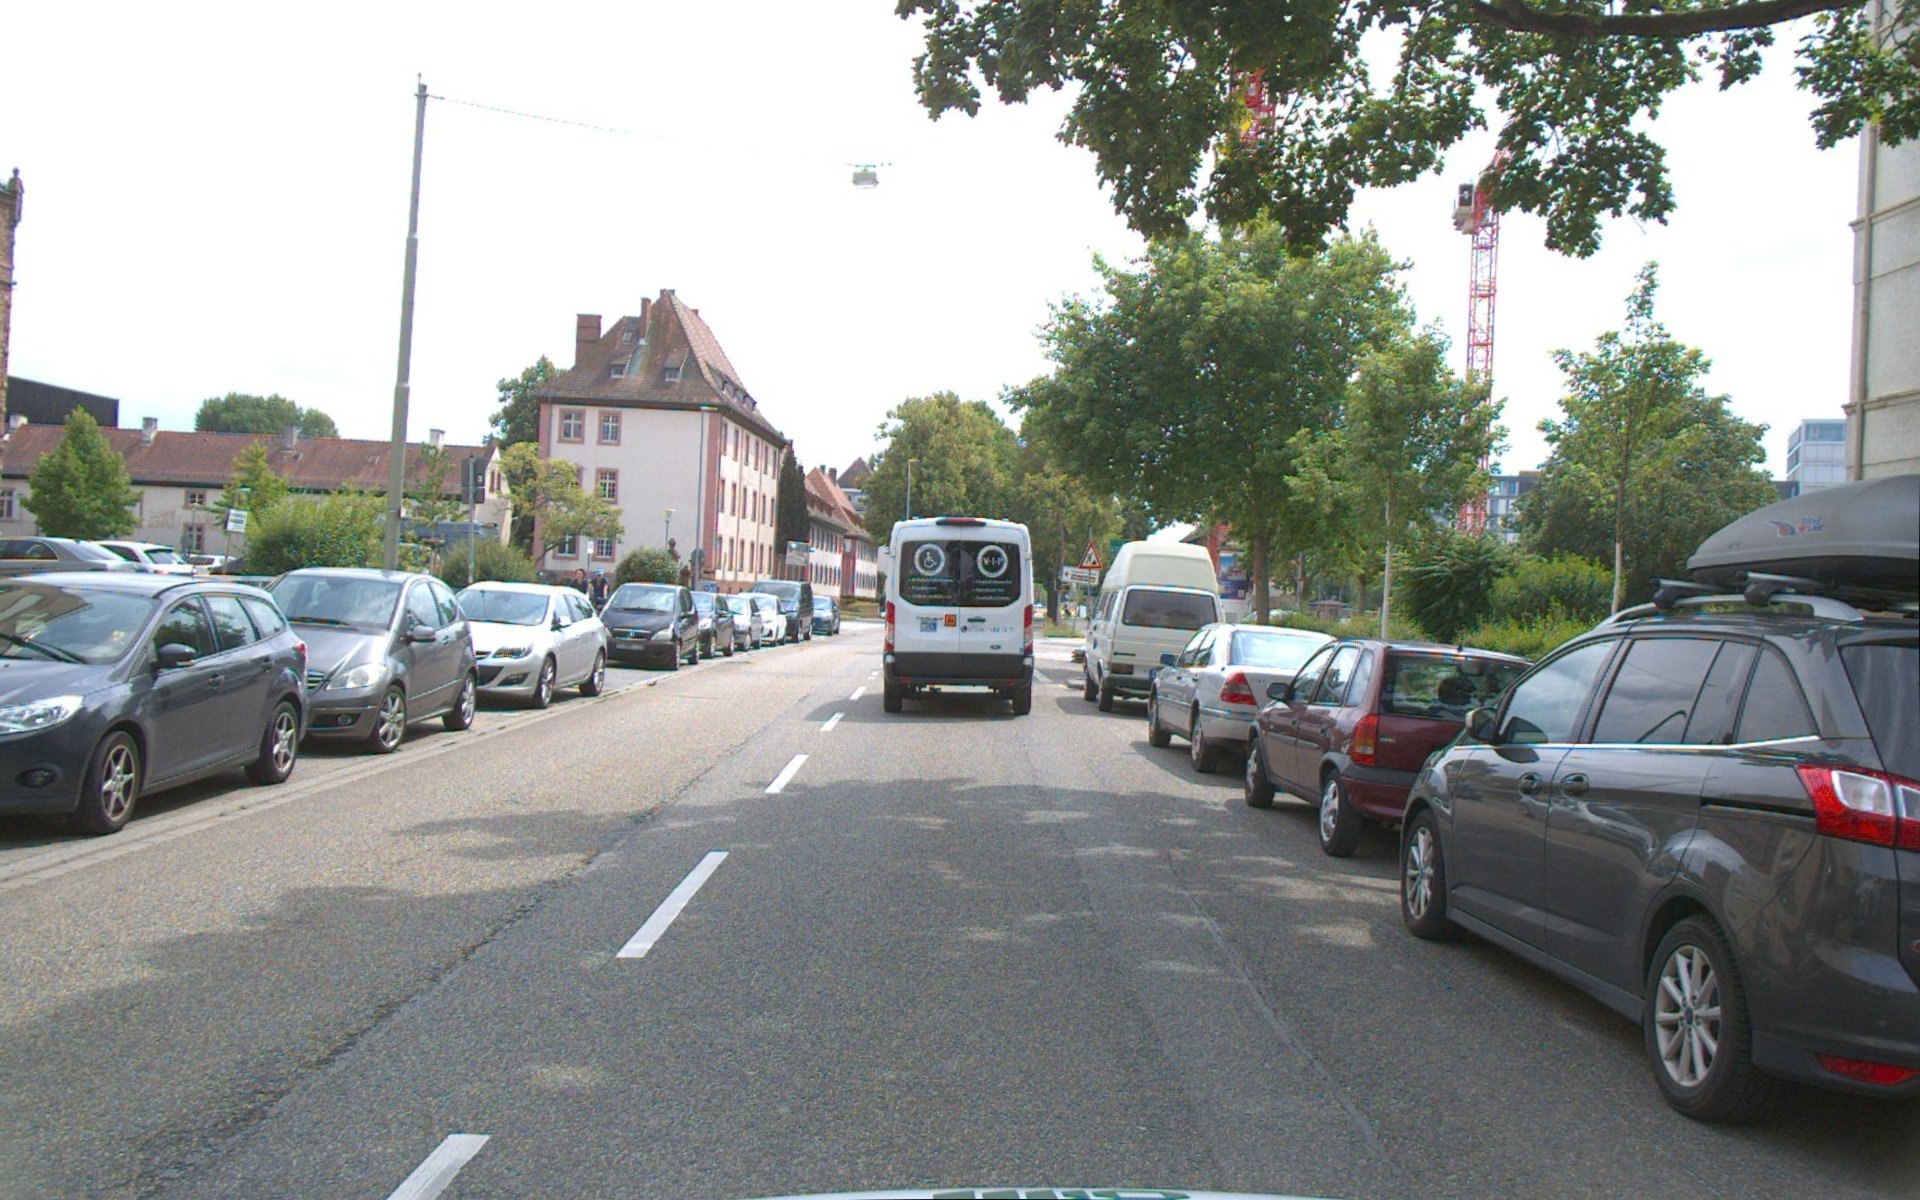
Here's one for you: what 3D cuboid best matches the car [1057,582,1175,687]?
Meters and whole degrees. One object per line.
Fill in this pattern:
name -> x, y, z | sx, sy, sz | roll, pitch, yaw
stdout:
car -> 2.894, 0.621, 31.507 | 1.678, 1.724, 4.000 | 5, 0, -1

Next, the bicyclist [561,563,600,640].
bicyclist -> -8.512, 0.029, 37.145 | 0.525, 1.682, 1.048 | 2, 0, 4

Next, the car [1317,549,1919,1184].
car -> 3.238, 0.787, 7.141 | 1.889, 1.690, 5.322 | 5, 0, -3

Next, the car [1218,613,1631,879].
car -> 3.206, 0.926, 12.276 | 1.679, 1.490, 3.998 | 5, 0, -3

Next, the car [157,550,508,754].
car -> -5.871, 0.442, 16.071 | 1.848, 1.607, 4.151 | 4, 0, -2

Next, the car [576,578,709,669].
car -> -6.140, 0.443, 32.415 | 1.749, 1.570, 3.861 | 4, 0, 0

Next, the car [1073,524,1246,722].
car -> 2.972, 0.336, 25.667 | 1.859, 2.631, 4.828 | 5, 0, -1

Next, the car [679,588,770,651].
car -> -6.174, 0.503, 43.688 | 1.749, 1.488, 3.861 | 4, 0, 0

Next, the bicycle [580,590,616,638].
bicycle -> -9.240, 0.351, 42.286 | 0.530, 1.195, 1.349 | 2, 0, 2

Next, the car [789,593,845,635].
car -> -5.580, 0.537, 64.969 | 1.749, 1.507, 3.861 | 4, 0, 0

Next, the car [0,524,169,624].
car -> -17.364, -0.530, 30.962 | 4.086, 1.713, 2.000 | 2, 1, 0

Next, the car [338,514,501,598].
car -> -16.820, -1.367, 51.628 | 4.318, 2.389, 2.000 | 2, 1, 0

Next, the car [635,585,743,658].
car -> -6.211, 0.474, 38.309 | 1.749, 1.488, 3.861 | 4, 0, 0

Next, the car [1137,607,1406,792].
car -> 3.044, 0.908, 17.127 | 1.647, 1.494, 4.553 | 5, 0, -2

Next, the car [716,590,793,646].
car -> -6.139, 0.520, 49.817 | 1.749, 1.507, 3.861 | 4, 0, 0

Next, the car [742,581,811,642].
car -> -6.067, 0.367, 55.059 | 1.749, 1.858, 3.974 | 4, 0, 0

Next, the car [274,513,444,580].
car -> -17.225, -1.517, 47.559 | 4.086, 1.713, 2.000 | 2, 1, 0

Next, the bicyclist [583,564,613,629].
bicyclist -> -9.227, -0.085, 42.178 | 0.525, 1.613, 0.692 | 2, 0, 2

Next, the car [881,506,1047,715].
car -> -0.046, 0.158, 23.180 | 2.029, 2.585, 4.632 | 1, -1, -3

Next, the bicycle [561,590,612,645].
bicycle -> -8.487, 0.384, 37.659 | 0.530, 1.195, 2.093 | 2, 0, 4

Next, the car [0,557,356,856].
car -> -5.739, 0.520, 10.991 | 1.706, 1.522, 4.784 | 4, 0, -1

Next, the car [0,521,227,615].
car -> -17.609, -0.664, 34.023 | 4.086, 1.713, 2.000 | 2, 1, 0

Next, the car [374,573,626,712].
car -> -5.863, 0.505, 21.731 | 1.847, 1.514, 4.634 | 4, 0, 1
